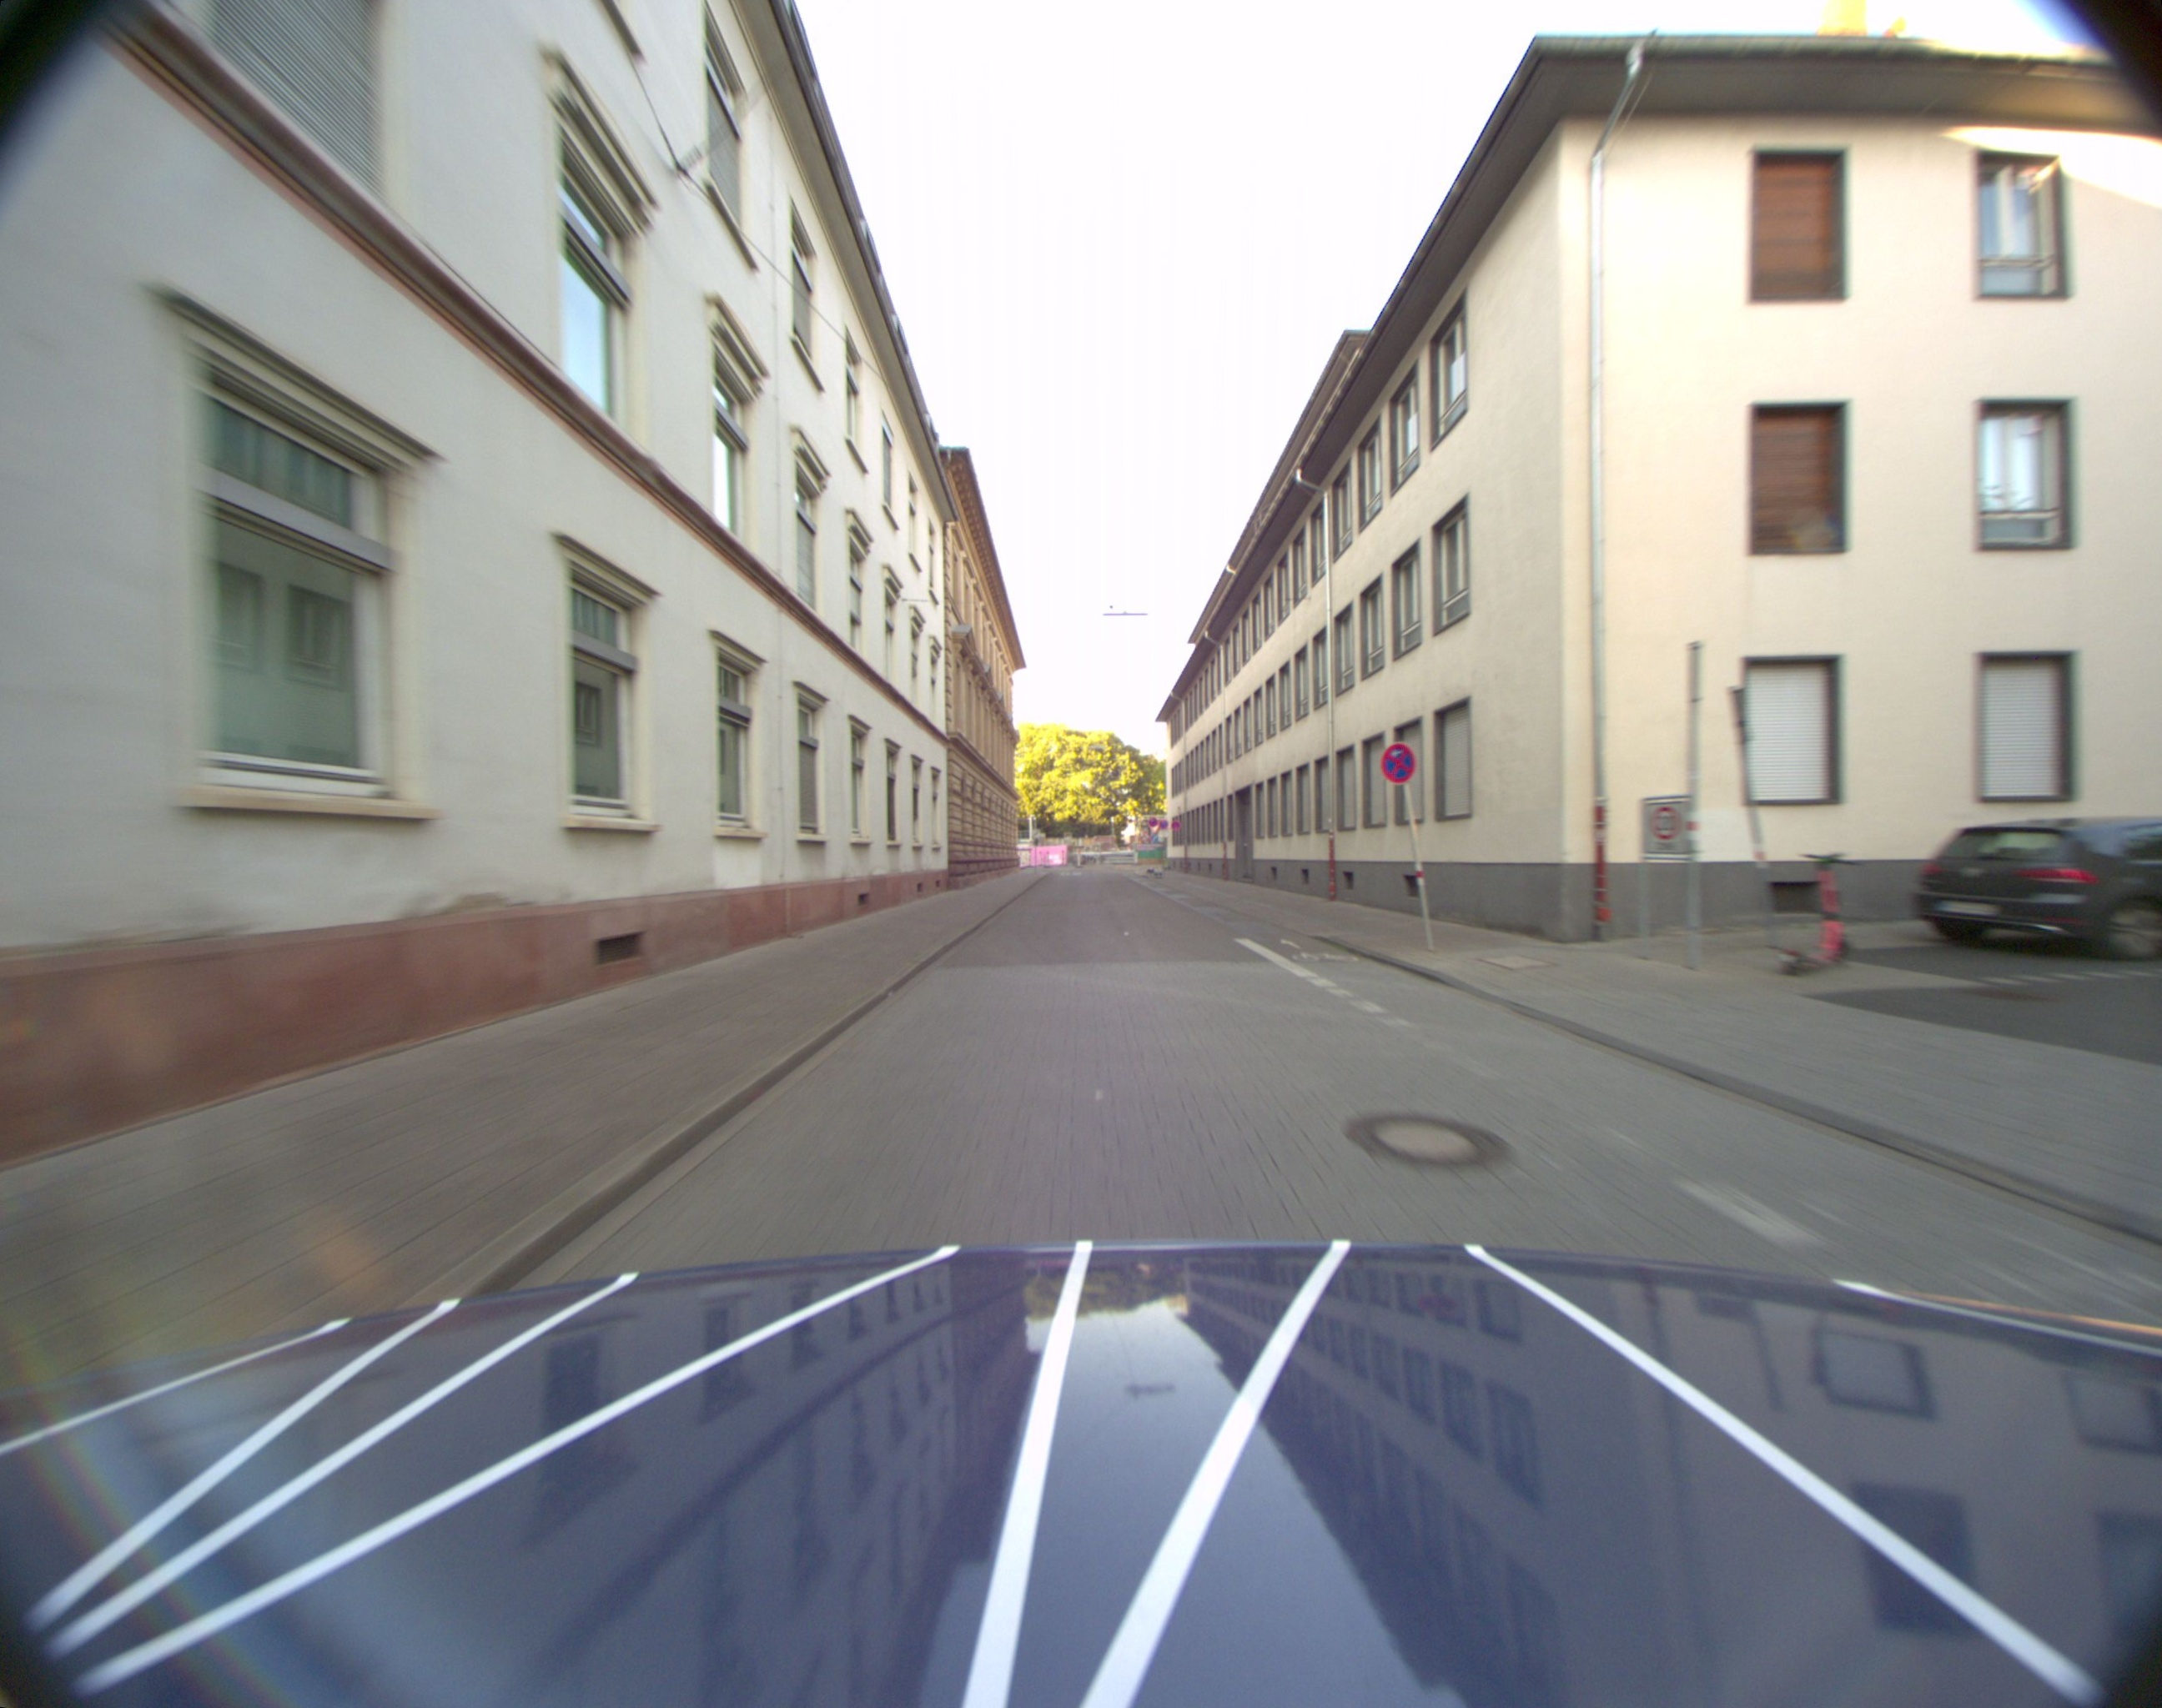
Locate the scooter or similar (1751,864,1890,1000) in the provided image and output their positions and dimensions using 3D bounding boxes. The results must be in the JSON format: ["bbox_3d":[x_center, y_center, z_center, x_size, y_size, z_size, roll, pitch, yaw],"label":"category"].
[{"bbox_3d":[7.585,0.759,7.788,1.367,1.194,0.532,-5,2,-24],"label":"scooter or similar"}]

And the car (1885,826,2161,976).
[{"bbox_3d":[11.739,0.430,8.290,3.966,1.432,1.728,-2,1,3],"label":"car"}]
